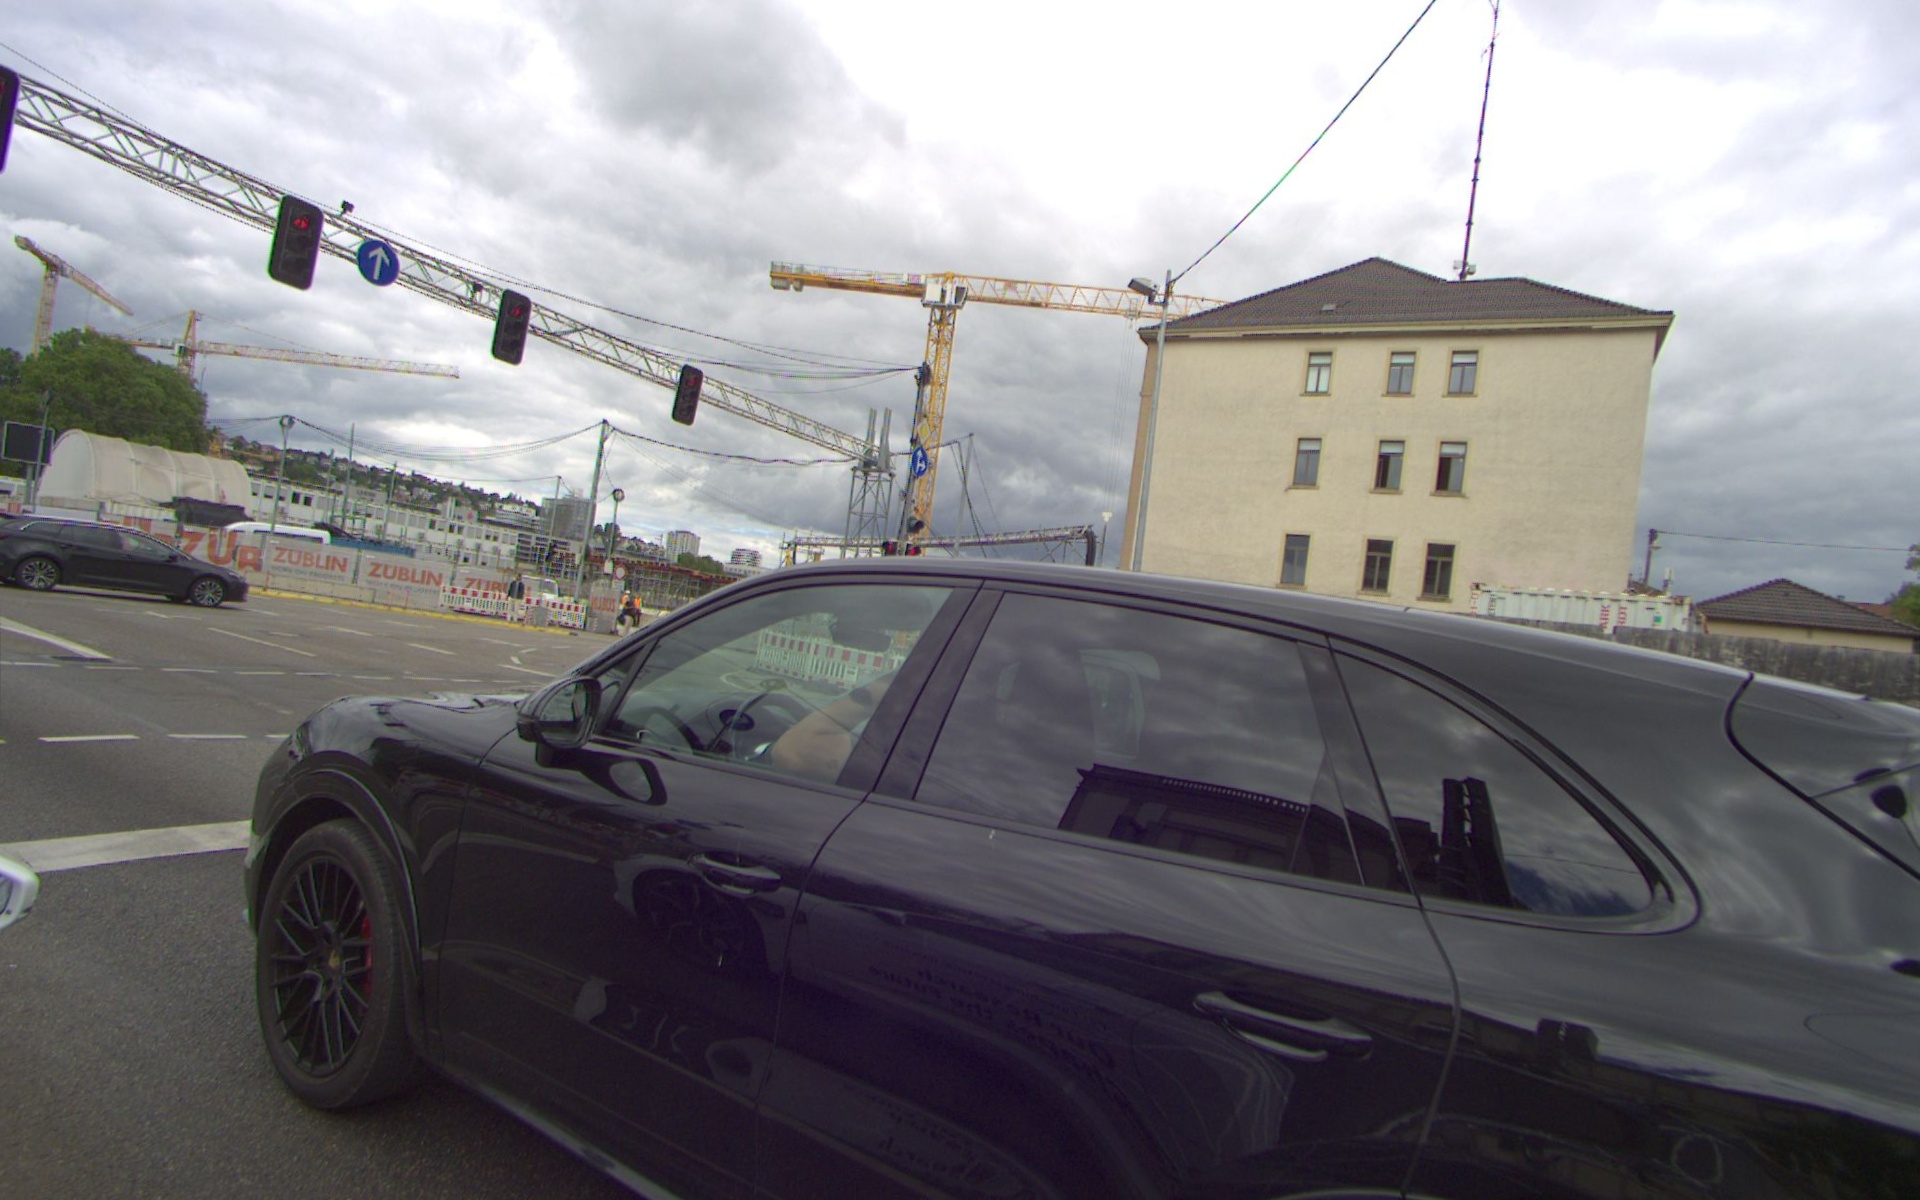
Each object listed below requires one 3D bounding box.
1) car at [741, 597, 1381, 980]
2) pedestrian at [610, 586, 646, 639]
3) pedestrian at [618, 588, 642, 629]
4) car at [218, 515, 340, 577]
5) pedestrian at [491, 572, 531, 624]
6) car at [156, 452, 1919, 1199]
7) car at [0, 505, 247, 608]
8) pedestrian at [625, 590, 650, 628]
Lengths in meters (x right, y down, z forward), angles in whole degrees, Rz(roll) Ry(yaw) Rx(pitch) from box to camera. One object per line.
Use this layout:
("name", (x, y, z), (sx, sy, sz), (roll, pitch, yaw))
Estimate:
("car", (0.587, 0.987, 6.560), (3.587, 1.527, 1.825), (6, -2, 33))
("pedestrian", (-13.758, 0.511, 41.686), (1.034, 2.037, 1.028), (8, -1, -27))
("pedestrian", (-17.642, 0.446, 53.830), (0.855, 2.037, 0.677), (6, -1, 44))
("car", (-29.525, -2.325, 43.645), (3.976, 2.037, 1.976), (9, -2, -43))
("pedestrian", (-17.466, -0.062, 39.136), (1.040, 1.869, 0.781), (8, -1, -42))
("car", (0.006, 0.677, 2.723), (4.505, 1.687, 1.997), (6, -2, 34))
("car", (-17.234, -0.888, 20.009), (1.968, 1.483, 4.497), (6, -2, 34))
("pedestrian", (-17.516, 0.483, 54.711), (0.850, 1.938, 0.680), (7, -1, 26))
